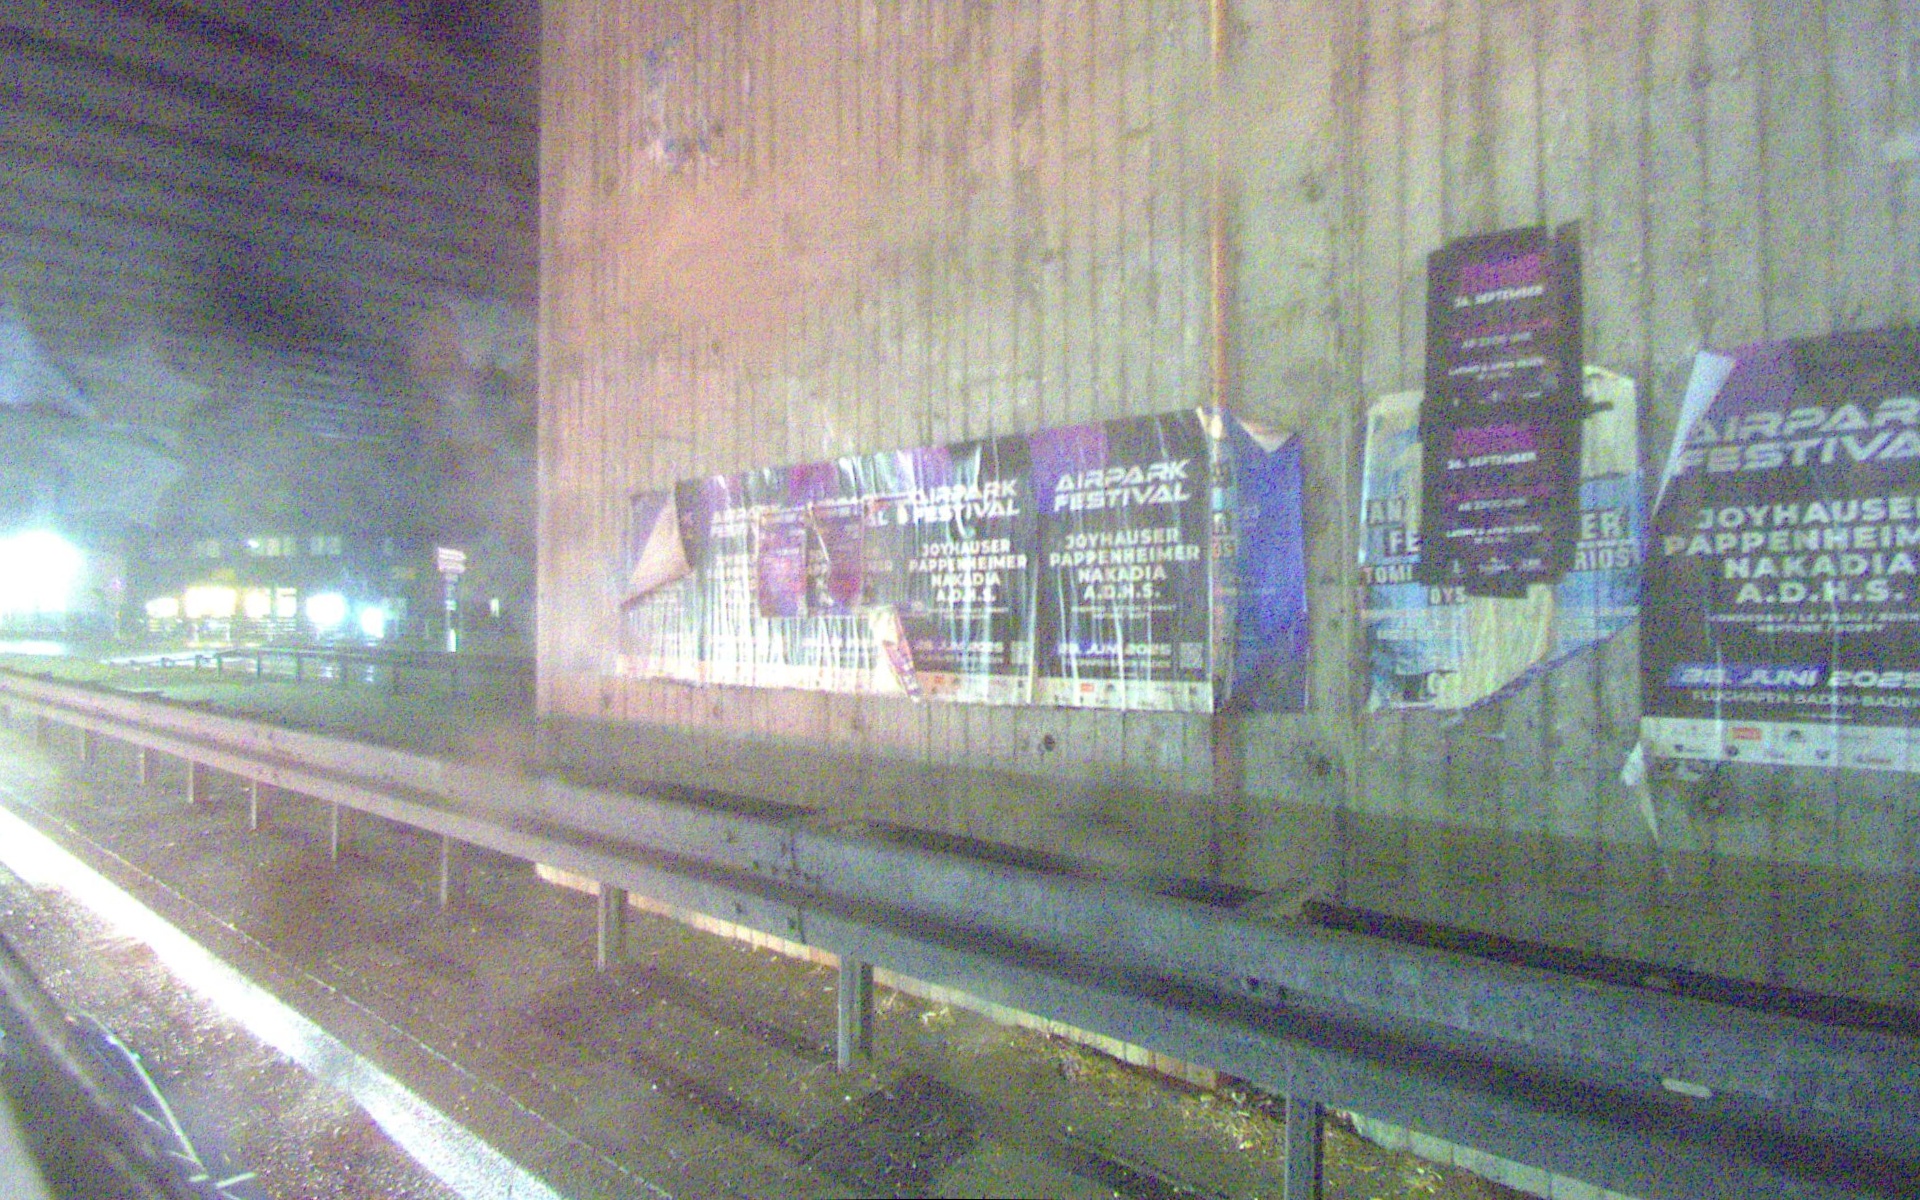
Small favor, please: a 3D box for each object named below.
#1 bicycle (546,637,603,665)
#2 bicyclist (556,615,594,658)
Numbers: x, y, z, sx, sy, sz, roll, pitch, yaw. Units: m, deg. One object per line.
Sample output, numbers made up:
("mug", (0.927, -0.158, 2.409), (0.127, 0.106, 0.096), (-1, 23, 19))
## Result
("bicycle", (-13.358, 1.745, 35.041), (2.206, 0.912, 0.622), (0, -2, 32))
("bicyclist", (-13.353, 1.259, 35.066), (1.184, 1.446, 0.622), (-1, -2, 32))
